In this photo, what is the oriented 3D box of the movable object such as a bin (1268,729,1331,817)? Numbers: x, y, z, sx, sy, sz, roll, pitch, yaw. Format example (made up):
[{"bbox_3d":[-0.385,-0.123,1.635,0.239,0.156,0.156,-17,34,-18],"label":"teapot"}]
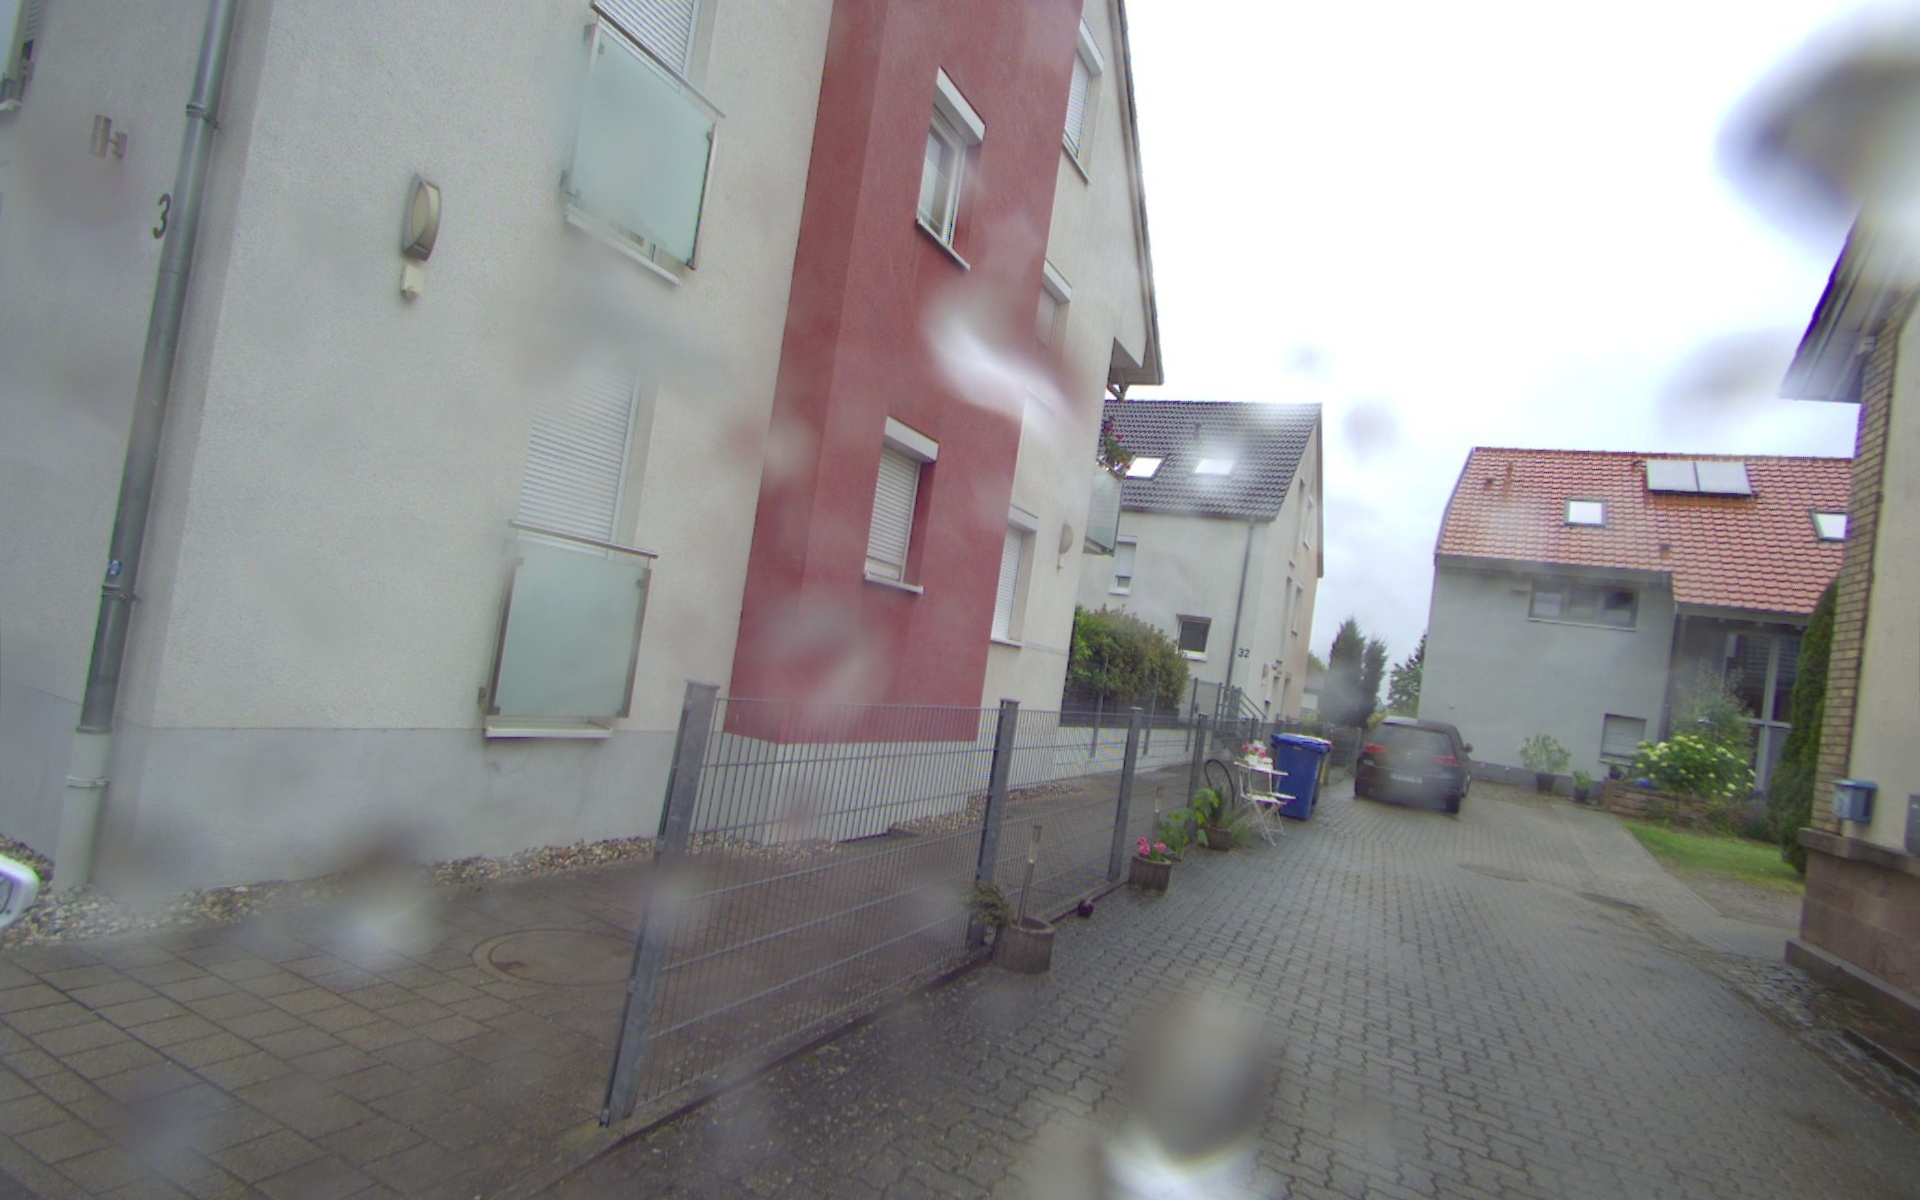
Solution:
[{"bbox_3d":[4.814,2.439,14.257,0.675,1.108,0.536,7,-2,25],"label":"movable object such as a bin"}]

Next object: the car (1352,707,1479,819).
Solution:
[{"bbox_3d":[8.548,2.914,18.698,1.656,1.491,3.993,7,0,30],"label":"car"}]

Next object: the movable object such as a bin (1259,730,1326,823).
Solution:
[{"bbox_3d":[4.453,2.342,13.465,0.675,1.108,0.536,7,-2,25],"label":"movable object such as a bin"}]
